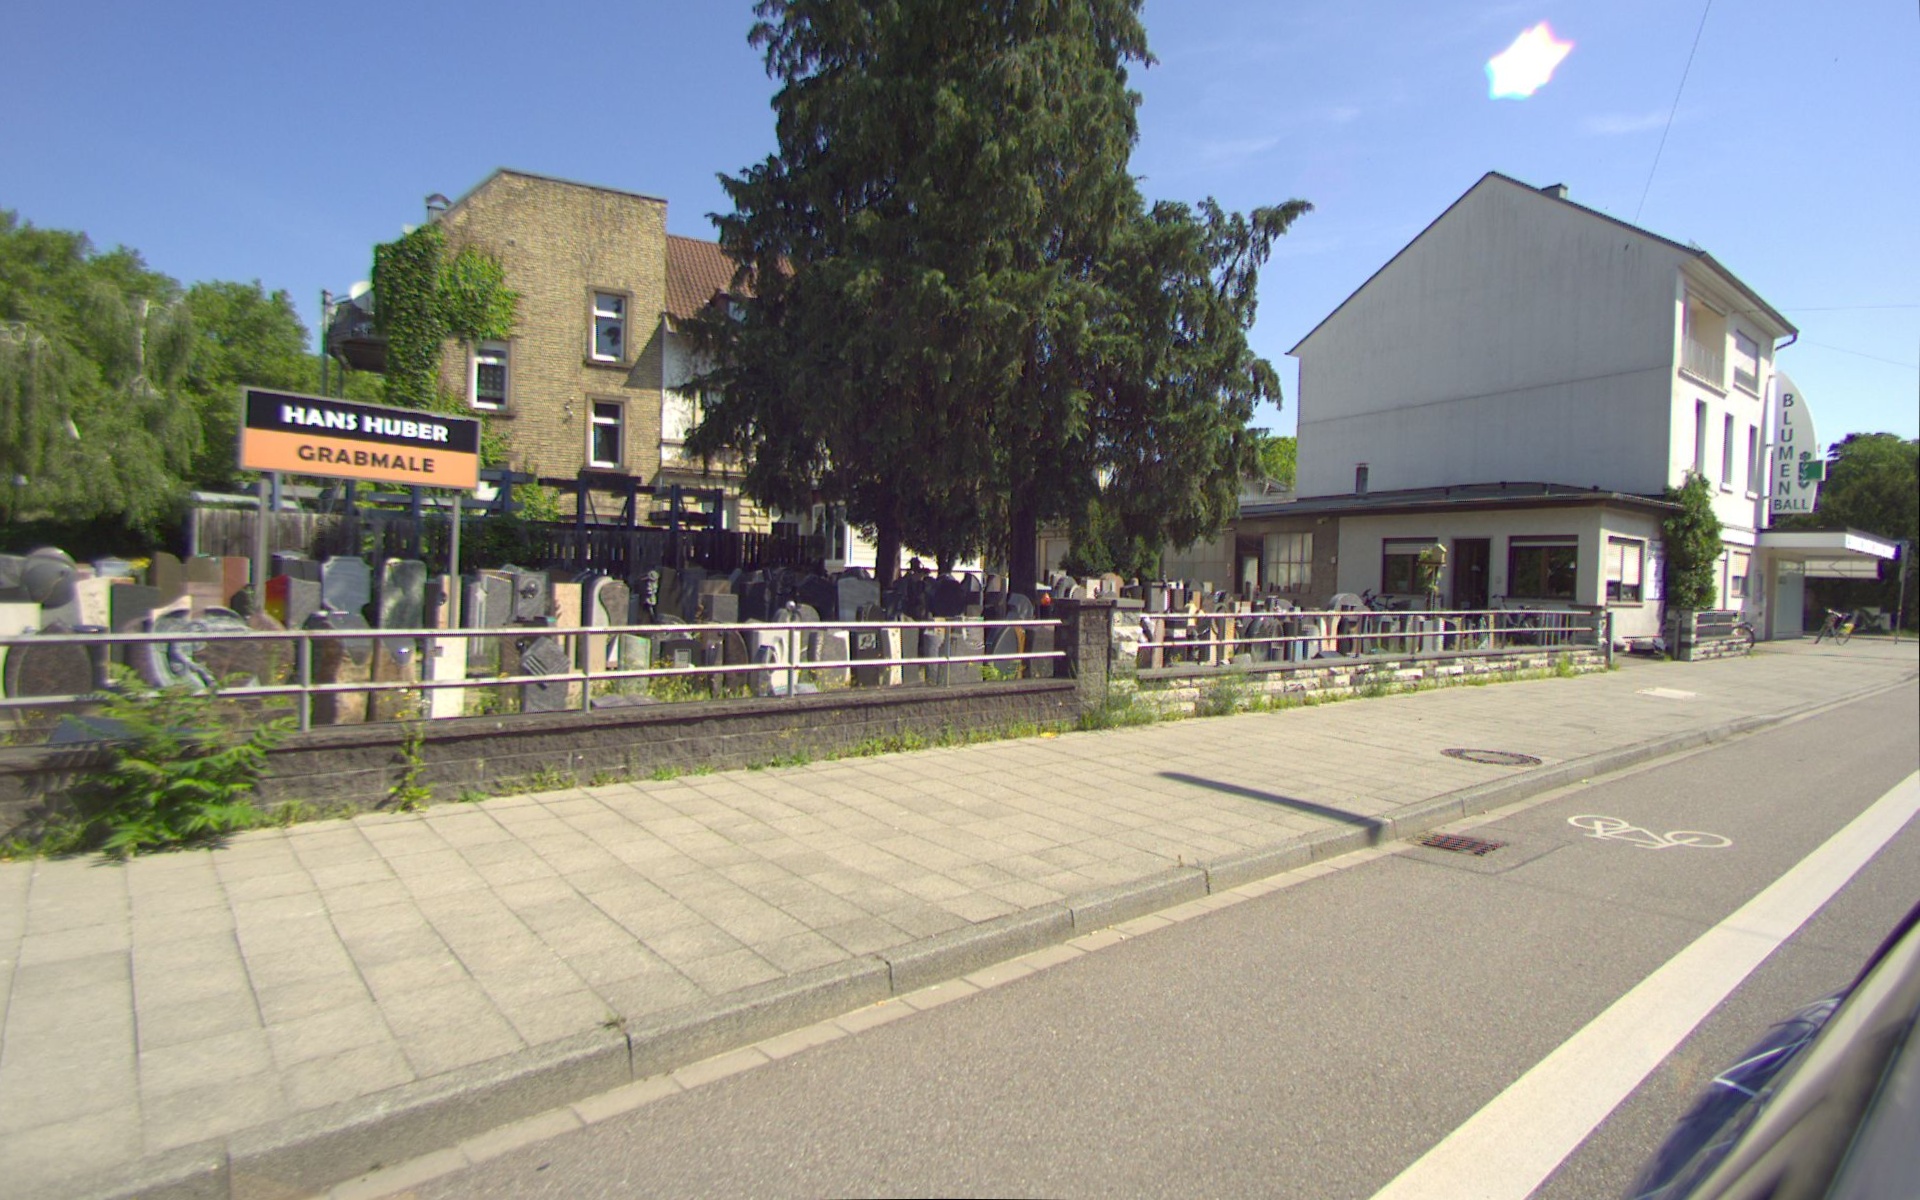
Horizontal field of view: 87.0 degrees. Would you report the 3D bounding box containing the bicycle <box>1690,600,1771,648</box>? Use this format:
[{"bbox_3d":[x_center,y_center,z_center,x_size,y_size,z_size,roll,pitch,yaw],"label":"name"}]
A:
[{"bbox_3d":[19.632,0.603,25.810,0.390,1.069,1.532,1,4,-38],"label":"bicycle"}]

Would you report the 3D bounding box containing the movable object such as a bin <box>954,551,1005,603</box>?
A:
[{"bbox_3d":[0.836,-0.967,42.688,1.458,2.103,2.278,2,1,19],"label":"movable object such as a bin"}]

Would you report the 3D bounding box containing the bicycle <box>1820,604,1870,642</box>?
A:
[{"bbox_3d":[28.395,0.739,32.474,1.655,1.148,0.513,1,1,-23],"label":"bicycle"}]

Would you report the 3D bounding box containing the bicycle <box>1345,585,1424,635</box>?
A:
[{"bbox_3d":[10.606,0.235,25.338,0.502,1.124,1.798,2,2,-36],"label":"bicycle"}]

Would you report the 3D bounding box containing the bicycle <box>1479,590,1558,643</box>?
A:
[{"bbox_3d":[12.900,0.362,23.427,0.503,1.124,1.695,2,2,-15],"label":"bicycle"}]

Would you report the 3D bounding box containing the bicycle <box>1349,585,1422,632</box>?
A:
[{"bbox_3d":[11.081,0.218,26.395,0.503,1.124,1.690,2,2,-38],"label":"bicycle"}]
